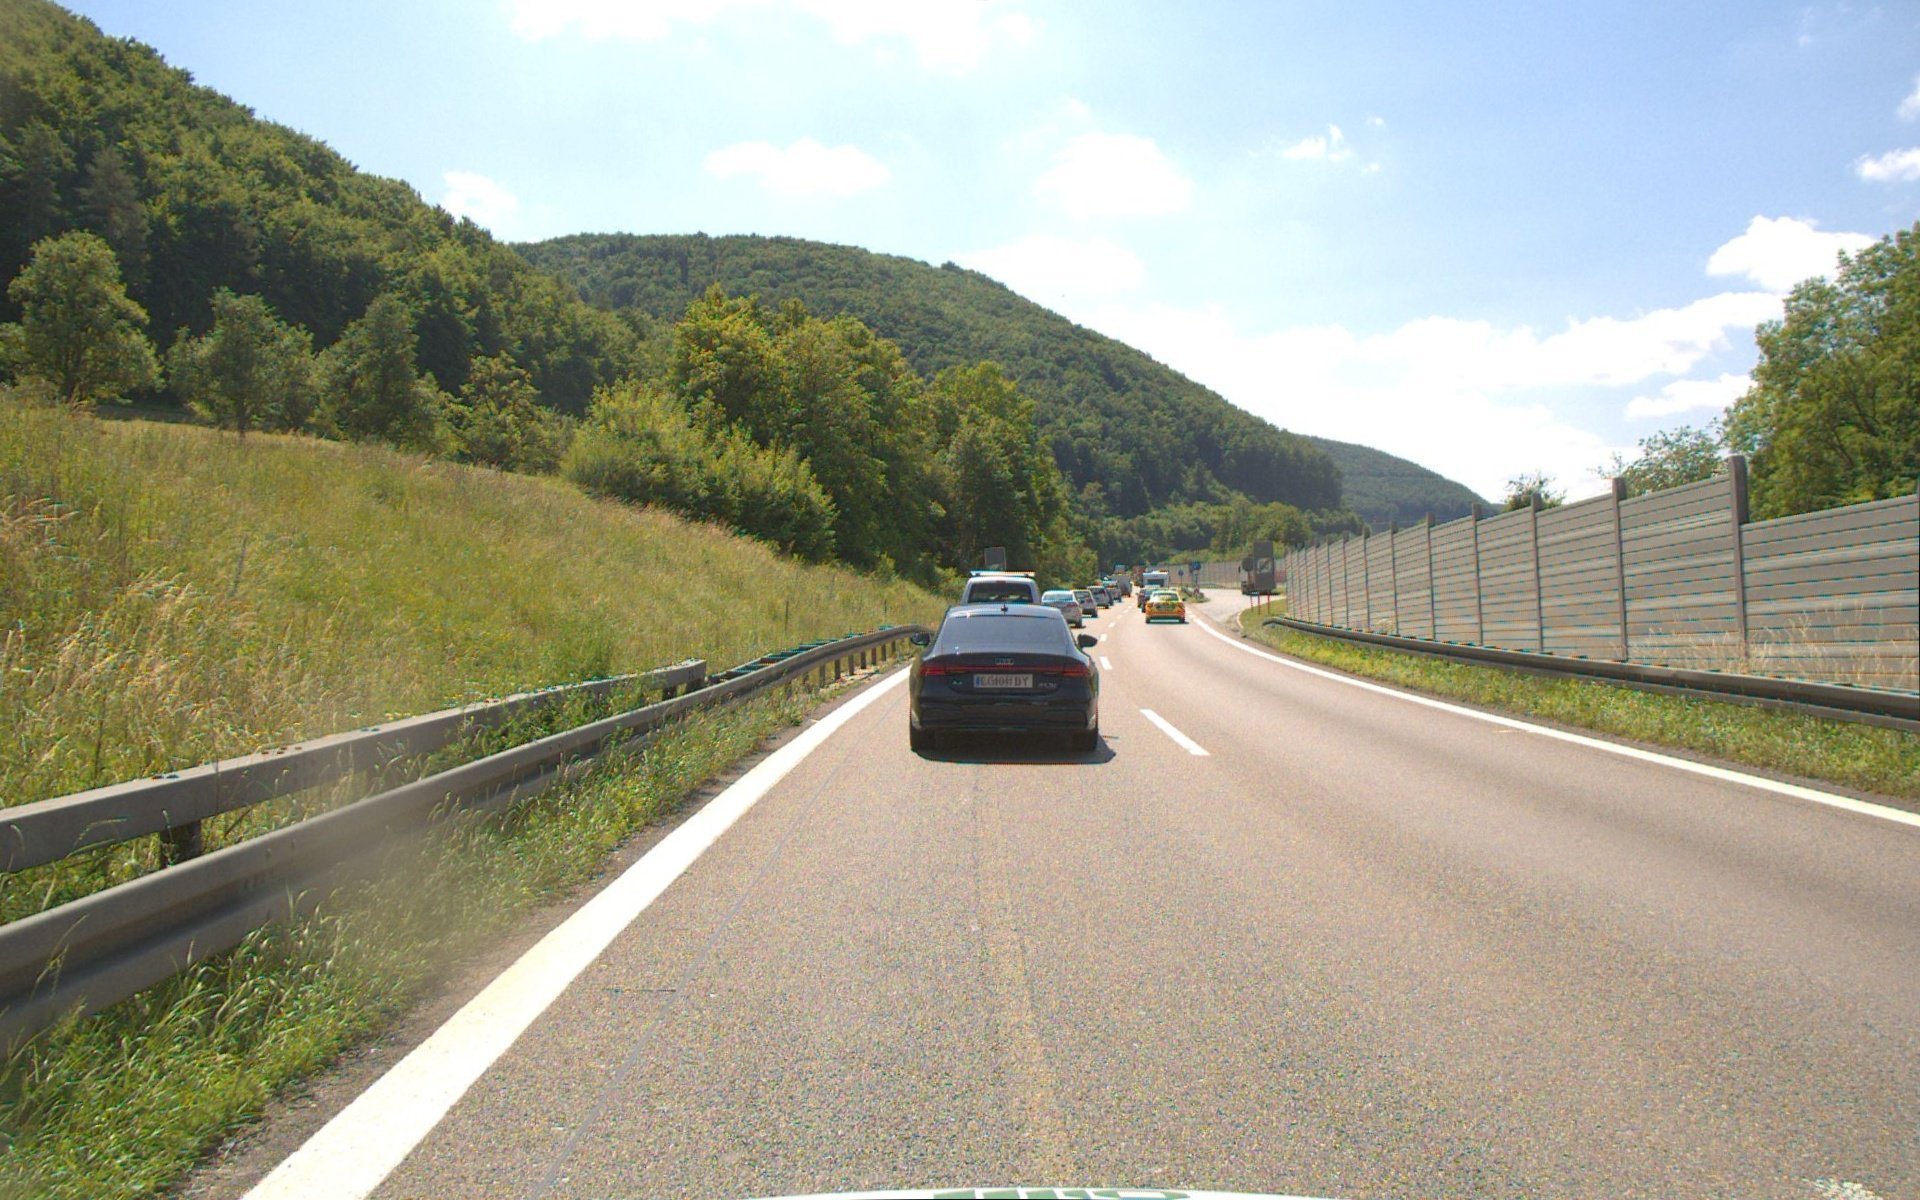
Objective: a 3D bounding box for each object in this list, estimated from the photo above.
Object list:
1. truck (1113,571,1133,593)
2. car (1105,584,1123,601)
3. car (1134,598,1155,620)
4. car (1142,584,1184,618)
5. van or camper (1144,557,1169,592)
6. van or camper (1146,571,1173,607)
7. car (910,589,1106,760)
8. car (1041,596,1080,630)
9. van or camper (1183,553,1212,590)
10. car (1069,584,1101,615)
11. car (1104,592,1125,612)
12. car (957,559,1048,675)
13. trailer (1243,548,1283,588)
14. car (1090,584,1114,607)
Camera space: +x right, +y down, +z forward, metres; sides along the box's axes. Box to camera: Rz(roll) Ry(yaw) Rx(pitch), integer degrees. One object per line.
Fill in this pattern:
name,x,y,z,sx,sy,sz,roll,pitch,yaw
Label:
truck,19.643,-2.156,199.558,2.020,2.651,5.618,2,0,9
car,14.710,-0.720,157.450,1.489,1.580,3.517,2,0,8
car,13.696,0.669,122.544,1.497,1.552,3.599,1,0,7
car,9.295,0.042,75.738,1.839,1.525,4.003,0,0,7
van or camper,23.248,-3.018,195.633,2.736,3.975,6.170,1,0,5
van or camper,18.108,-0.969,150.250,2.378,3.210,5.207,1,0,7
car,0.424,0.668,16.842,1.775,1.541,3.514,1,0,-1
car,4.156,0.530,68.040,1.489,1.317,3.516,2,0,4
van or camper,25.936,-3.085,180.835,2.736,3.908,6.170,1,0,5
car,6.739,-0.031,89.047,1.489,1.580,3.517,2,0,7
car,12.847,0.153,137.558,1.488,1.580,3.517,2,0,9
car,0.842,0.294,31.180,1.489,2.002,3.516,2,0,4
trailer,31.211,-3.221,170.876,3.339,3.968,11.160,0,1,6
car,10.333,-0.334,120.400,1.489,1.580,3.517,2,0,8
